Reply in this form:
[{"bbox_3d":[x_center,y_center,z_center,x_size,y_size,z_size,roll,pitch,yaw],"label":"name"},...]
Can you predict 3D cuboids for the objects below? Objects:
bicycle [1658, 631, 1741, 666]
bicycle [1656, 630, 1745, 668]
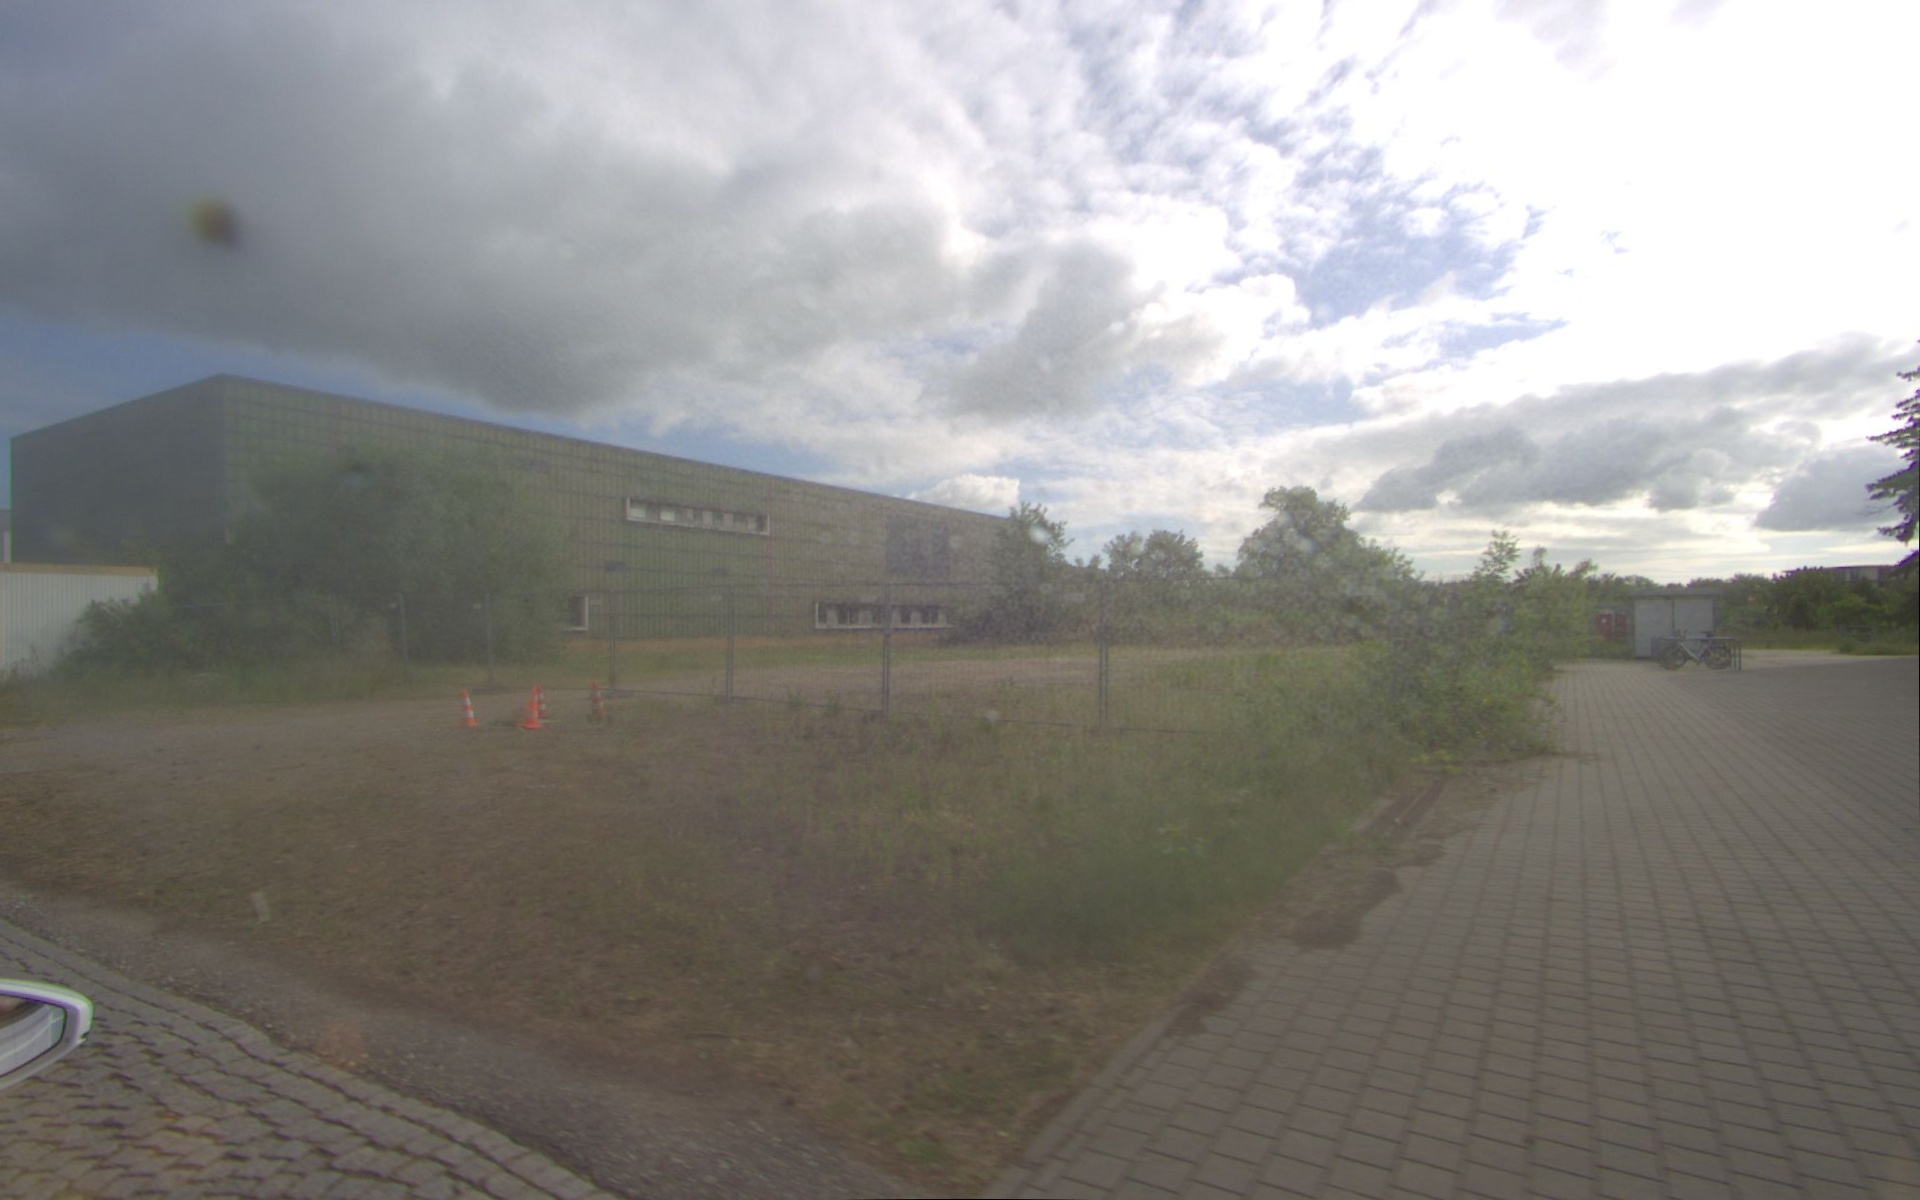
[{"bbox_3d":[22.147,1.446,30.047,1.962,1.038,0.832,-2,-2,35],"label":"bicycle"},{"bbox_3d":[20.918,1.392,28.333,1.962,1.038,0.832,-2,-2,35],"label":"bicycle"}]
